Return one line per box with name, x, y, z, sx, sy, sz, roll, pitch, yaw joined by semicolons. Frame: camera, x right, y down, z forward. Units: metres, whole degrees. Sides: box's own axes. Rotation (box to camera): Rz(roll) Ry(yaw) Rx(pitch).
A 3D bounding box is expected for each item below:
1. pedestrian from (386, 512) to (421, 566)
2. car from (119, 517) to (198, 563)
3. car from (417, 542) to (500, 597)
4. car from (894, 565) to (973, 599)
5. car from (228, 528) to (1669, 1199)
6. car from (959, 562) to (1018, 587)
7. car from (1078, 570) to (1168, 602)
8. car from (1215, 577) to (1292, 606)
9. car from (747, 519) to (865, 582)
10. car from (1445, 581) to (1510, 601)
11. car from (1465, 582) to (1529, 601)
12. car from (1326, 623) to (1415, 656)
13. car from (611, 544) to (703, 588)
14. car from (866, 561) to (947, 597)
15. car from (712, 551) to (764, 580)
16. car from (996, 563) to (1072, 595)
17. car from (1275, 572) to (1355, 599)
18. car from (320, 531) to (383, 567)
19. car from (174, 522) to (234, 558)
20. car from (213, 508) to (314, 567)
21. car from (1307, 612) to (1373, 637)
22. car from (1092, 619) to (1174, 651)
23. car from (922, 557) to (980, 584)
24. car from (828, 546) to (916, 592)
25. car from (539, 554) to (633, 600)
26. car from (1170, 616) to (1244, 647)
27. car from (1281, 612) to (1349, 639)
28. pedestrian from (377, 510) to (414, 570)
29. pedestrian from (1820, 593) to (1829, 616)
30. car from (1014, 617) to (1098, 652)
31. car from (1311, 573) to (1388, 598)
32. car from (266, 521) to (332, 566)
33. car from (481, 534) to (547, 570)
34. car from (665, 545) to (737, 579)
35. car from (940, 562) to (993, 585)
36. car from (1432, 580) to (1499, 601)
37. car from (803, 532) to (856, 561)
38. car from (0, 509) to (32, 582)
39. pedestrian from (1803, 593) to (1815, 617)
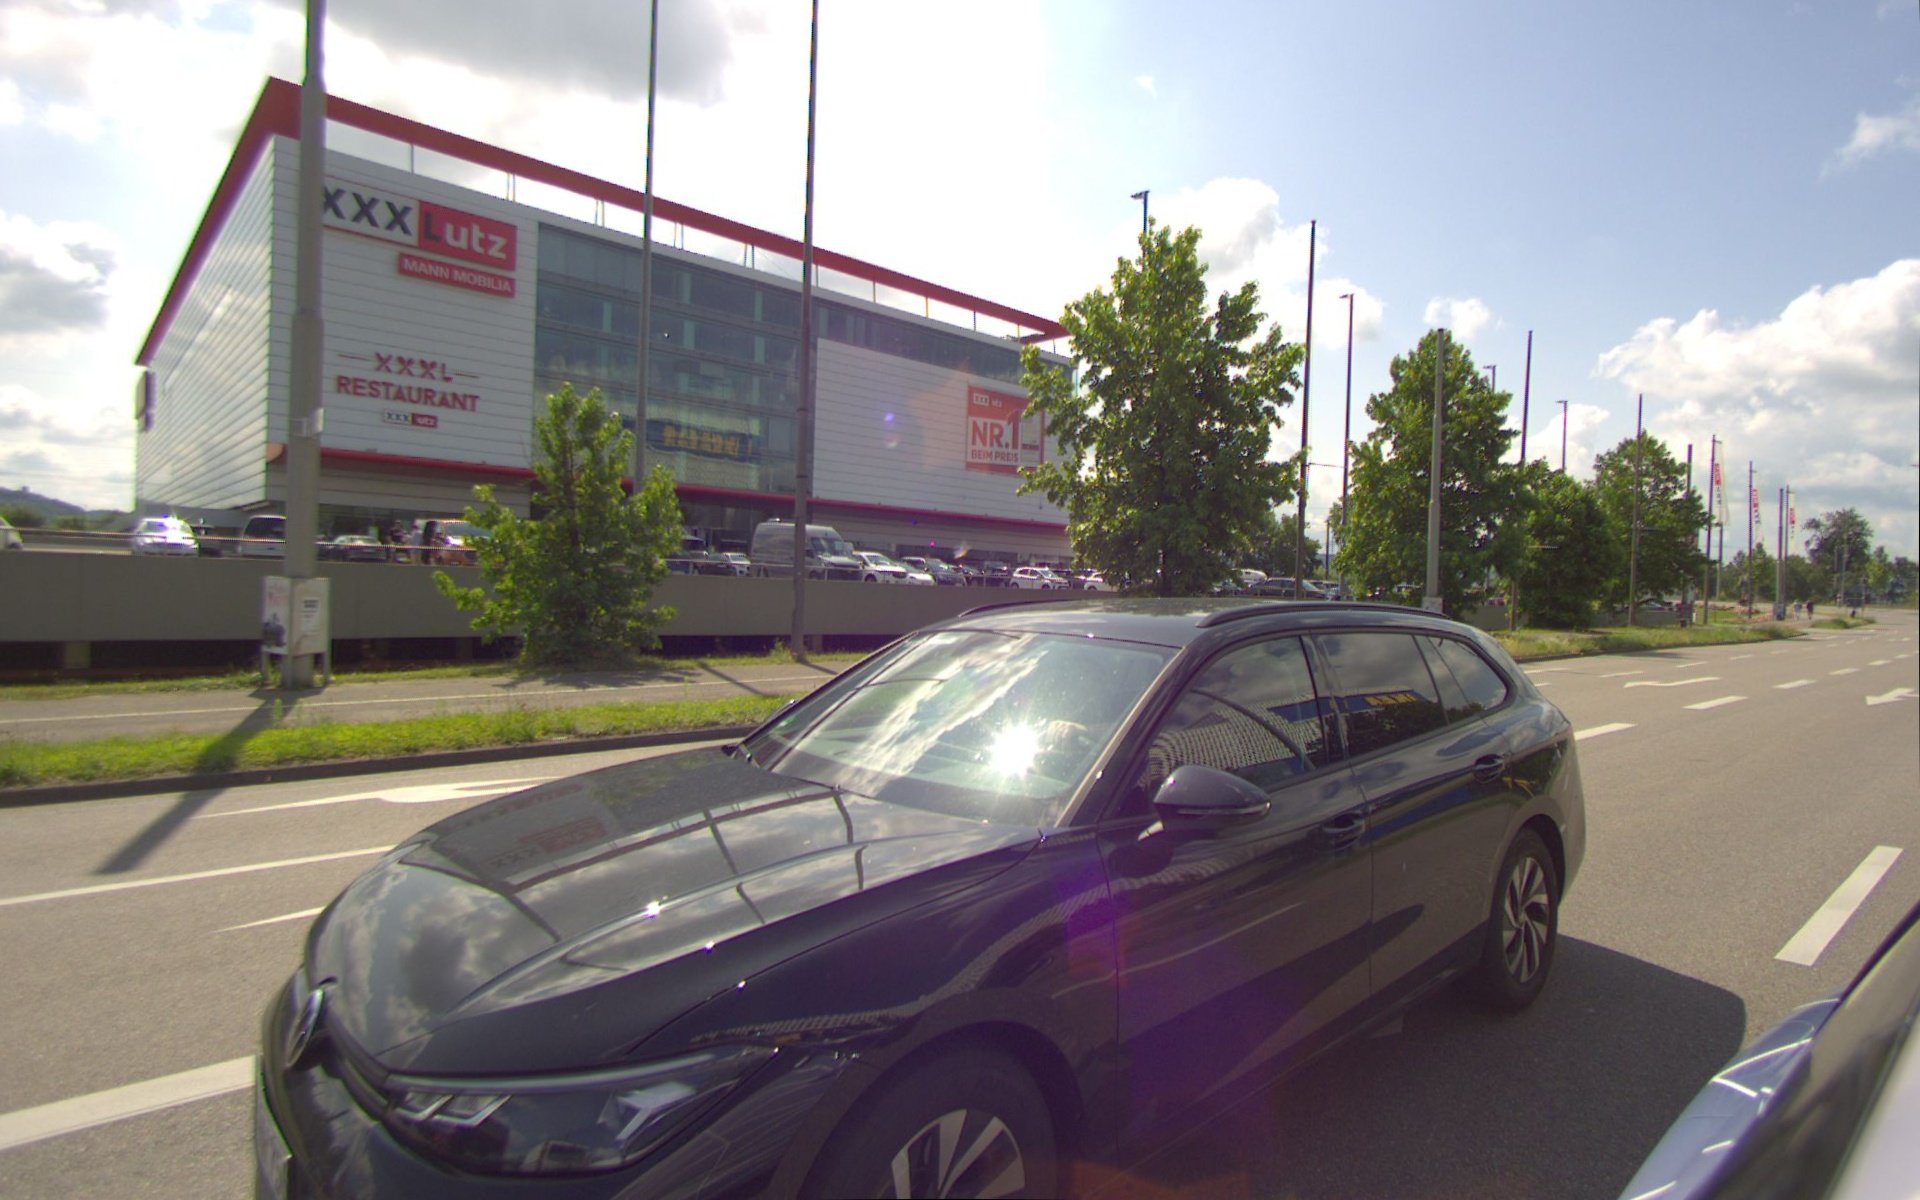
pedestrian;-18.930;-2.054;34.417;1.014;1.764;0.698;0;0;36
car;-30.037;-2.198;37.884;1.922;1.489;4.412;0;1;-44
car;-17.152;-0.990;34.493;1.881;1.772;4.187;0;0;-36
car;-1.366;-0.876;50.665;1.917;1.625;4.425;0;1;-33
car;0.679;0.652;3.538;5.114;1.496;1.811;0;1;-42
car;1.890;-1.695;67.737;1.916;1.625;4.428;0;1;-30
car;8.438;-0.720;52.612;1.921;1.625;4.416;0;1;-41
car;16.834;-0.487;58.101;1.746;1.624;3.996;0;0;-39
car;-6.267;-1.892;40.608;1.720;2.312;5.784;0;0;-44
car;42.681;-0.748;83.485;1.921;1.625;4.416;0;1;-41
car;45.927;-0.721;86.600;1.921;1.625;4.416;0;1;-41
car;23.615;2.249;58.331;1.921;1.625;4.416;0;1;-41
car;-12.079;-1.313;40.177;1.920;1.625;4.418;0;1;-40
car;-2.626;-0.984;48.434;1.917;1.625;4.425;0;1;-33
car;-13.132;-1.982;59.706;1.915;1.625;4.430;0;1;-27
car;4.187;-1.167;57.737;1.534;1.786;4.412;0;0;-44
car;22.287;-0.899;63.670;1.921;1.625;4.416;0;1;-41
car;-27.863;-2.284;46.277;1.534;1.489;4.412;0;1;-44
car;-37.951;-2.976;50.765;1.922;1.625;4.412;0;1;-44
car;-21.884;-1.906;31.727;1.922;1.625;4.412;0;1;-44
car;28.339;1.793;75.637;1.534;1.786;4.412;0;0;-44
car;9.950;2.005;58.487;1.922;1.625;4.414;0;1;-43
car;-0.610;-1.803;63.961;1.915;1.625;4.430;0;1;-27
car;-3.709;-1.248;42.159;1.718;1.816;3.995;0;0;-40
car;-14.263;-0.850;38.469;1.921;1.625;4.416;0;1;-41
car;15.383;1.938;63.158;1.534;1.786;4.412;0;0;-44
car;25.581;1.790;72.954;1.534;1.786;4.412;0;0;-44
pedestrian;-19.643;-2.083;35.219;0.895;2.039;0.706;0;0;4
pedestrian;67.653;0.347;79.190;0.524;1.836;0.668;0;0;39
car;5.008;1.799;53.507;1.919;1.625;4.420;0;1;-38
car;25.716;-0.948;66.915;1.921;1.625;4.416;0;1;-41
car;-29.036;-2.442;44.390;1.883;1.772;3.993;0;0;-41
car;-22.453;-2.374;50.871;1.920;1.625;4.418;0;1;-40
car;-13.485;-1.936;52.569;1.920;1.625;4.418;0;1;-40
car;0.446;-1.897;73.174;1.916;1.625;4.428;0;1;-30
car;40.366;-0.783;80.951;1.921;1.625;4.416;0;1;-41
car;-8.172;-3.286;63.232;1.915;1.625;4.430;0;1;-27
car;-22.112;-1.208;21.480;1.842;1.606;4.173;0;0;-15
pedestrian;66.846;0.373;79.672;0.701;1.836;0.538;0;0;40
